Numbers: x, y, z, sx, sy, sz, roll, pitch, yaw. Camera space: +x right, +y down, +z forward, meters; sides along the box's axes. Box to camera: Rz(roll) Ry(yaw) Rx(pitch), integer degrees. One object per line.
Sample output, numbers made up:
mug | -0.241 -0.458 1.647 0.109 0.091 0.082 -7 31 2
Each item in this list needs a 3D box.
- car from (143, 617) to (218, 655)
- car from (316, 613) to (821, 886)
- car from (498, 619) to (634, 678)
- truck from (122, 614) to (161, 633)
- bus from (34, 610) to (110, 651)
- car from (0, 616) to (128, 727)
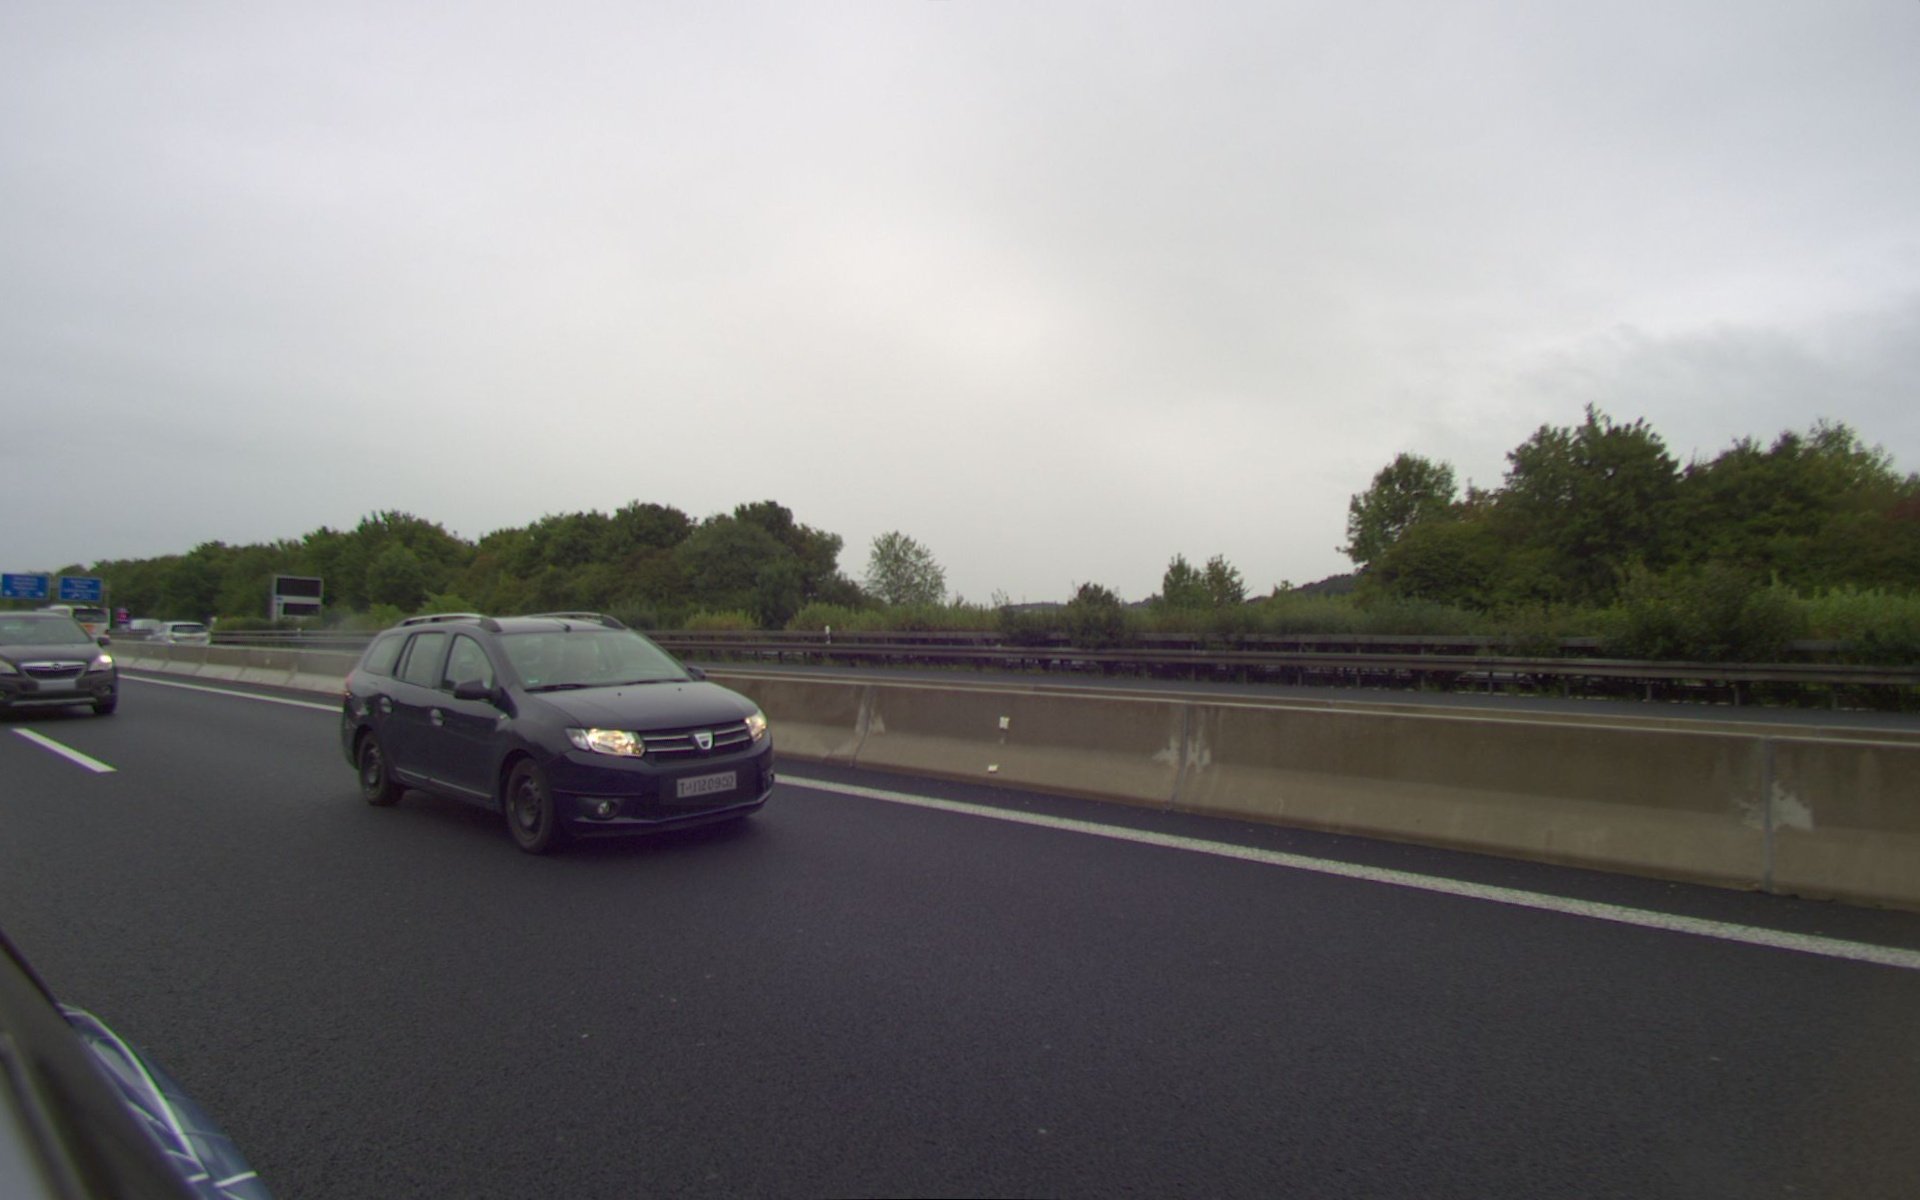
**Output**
car | -37.124 1.698 48.175 4.301 1.724 1.973 -1 -2 41
car | -3.211 0.864 7.746 4.565 1.501 1.703 -1 -2 42
car | -12.056 1.428 30.860 4.599 1.662 1.872 -1 -2 40
truck | -96.651 2.776 119.481 6.147 2.259 2.007 -1 -2 36
bus | -70.106 2.339 79.755 11.888 2.981 2.671 -1 -2 40
car | -14.890 1.049 16.111 3.831 1.592 1.790 -1 -2 39
